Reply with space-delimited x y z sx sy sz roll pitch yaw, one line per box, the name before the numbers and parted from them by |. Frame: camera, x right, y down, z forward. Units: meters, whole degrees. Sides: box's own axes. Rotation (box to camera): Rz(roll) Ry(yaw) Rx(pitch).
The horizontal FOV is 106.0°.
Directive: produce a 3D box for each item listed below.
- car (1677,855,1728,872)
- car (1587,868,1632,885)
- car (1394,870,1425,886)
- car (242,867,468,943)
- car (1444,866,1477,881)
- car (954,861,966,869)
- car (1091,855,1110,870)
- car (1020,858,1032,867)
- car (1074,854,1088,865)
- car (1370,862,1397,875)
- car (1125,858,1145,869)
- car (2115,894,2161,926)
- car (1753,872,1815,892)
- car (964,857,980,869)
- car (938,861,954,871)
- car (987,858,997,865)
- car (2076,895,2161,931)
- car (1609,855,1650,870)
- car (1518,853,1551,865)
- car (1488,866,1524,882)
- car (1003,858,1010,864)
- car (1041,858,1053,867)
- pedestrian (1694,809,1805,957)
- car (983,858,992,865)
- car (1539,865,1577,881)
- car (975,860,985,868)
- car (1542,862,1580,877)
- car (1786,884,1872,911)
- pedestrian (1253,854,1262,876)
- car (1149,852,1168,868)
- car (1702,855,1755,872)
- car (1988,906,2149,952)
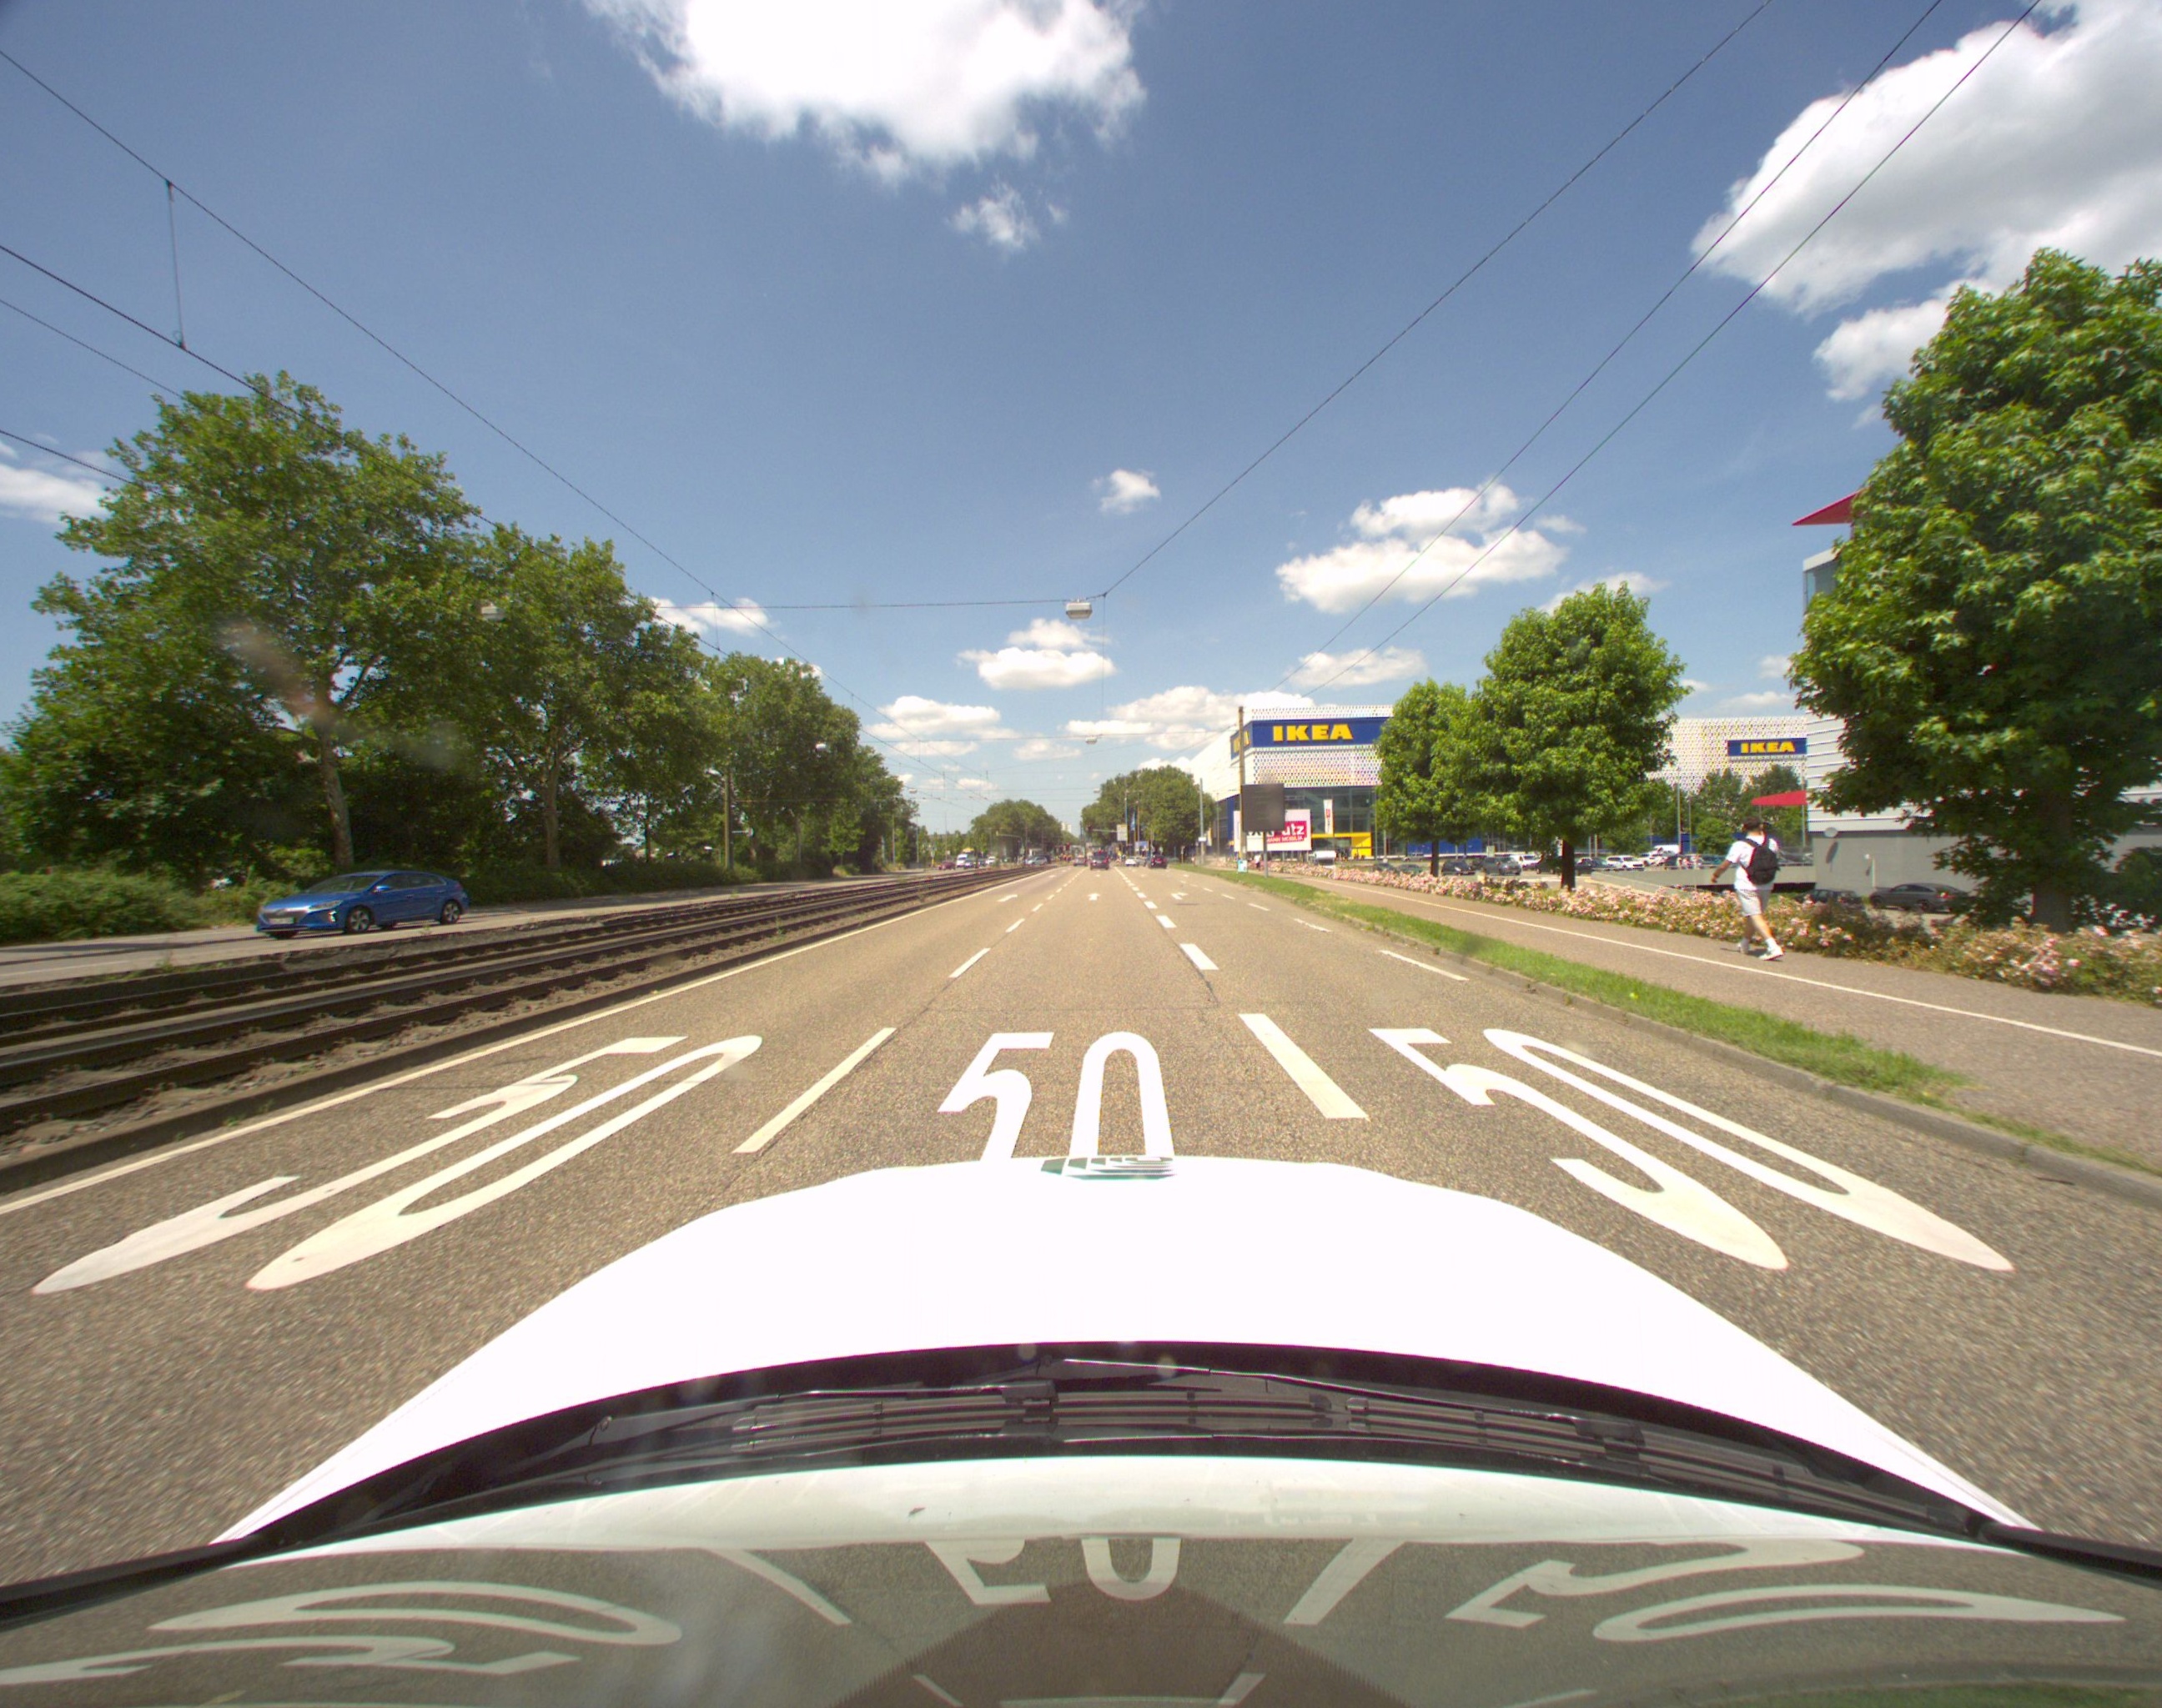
car | 54.749 0.797 71.828 1.566 1.483 3.887 0 0 0
car | 46.993 1.986 72.496 1.566 1.483 3.887 0 0 0
car | 33.358 2.391 82.846 1.566 1.483 3.887 0 0 0
car | -17.075 1.130 19.480 1.640 1.550 4.215 0 0 -1
car | 38.621 1.995 82.991 1.566 1.483 3.887 0 0 0
car | -23.827 2.168 160.229 1.617 1.550 3.704 0 0 1
car | 1.970 0.824 83.531 1.869 1.539 3.777 0 0 1
car | -9.270 1.429 137.493 1.836 1.550 3.777 0 0 1
car | 0.000 0.795 116.932 1.836 1.550 3.776 0 0 0
car | 36.383 1.738 98.101 1.734 1.540 3.997 0 0 -2
car | 7.790 1.308 117.482 1.670 1.550 4.006 0 0 23
car | 52.564 2.721 38.779 1.734 1.483 3.965 0 0 2
car | 61.954 2.465 71.892 1.867 1.644 4.292 0 0 1
car | -15.234 1.241 113.883 1.617 1.550 3.984 0 0 1
car | -20.499 1.812 123.901 1.617 1.550 3.984 0 0 1
car | -19.835 1.583 181.910 1.617 1.550 3.704 0 0 1
car | 50.011 2.763 38.161 1.734 1.483 4.241 0 0 2
car | 55.787 0.818 82.890 1.566 1.483 3.887 0 0 0
car | 55.655 0.597 100.002 1.734 1.540 3.997 0 0 -2
car | 43.237 2.001 82.895 1.566 1.483 3.887 0 0 0
car | -20.459 1.886 223.623 1.618 1.550 3.703 0 0 0
car | -5.531 1.410 133.904 1.836 1.550 3.776 0 0 0
pedestrian | 8.434 0.347 10.313 0.666 1.792 0.925 0 0 3
car | -22.426 1.835 196.198 1.617 1.550 3.704 0 0 1
car | 48.172 1.891 82.304 1.566 1.483 3.887 0 0 0
car | -19.942 1.893 160.843 1.617 1.550 3.704 0 0 1
car | 51.606 1.668 87.670 1.734 1.540 3.997 0 0 -2
car | 46.020 2.652 50.203 1.734 1.483 3.965 0 0 2
pedestrian | 14.215 0.880 65.747 0.578 1.792 0.589 0 0 -1
car | 8.660 0.688 91.590 1.892 1.805 3.978 0 0 2
car | 57.283 0.789 72.093 1.566 1.483 3.887 0 0 0
car | 40.260 3.008 33.360 1.734 1.483 4.089 0 0 2
